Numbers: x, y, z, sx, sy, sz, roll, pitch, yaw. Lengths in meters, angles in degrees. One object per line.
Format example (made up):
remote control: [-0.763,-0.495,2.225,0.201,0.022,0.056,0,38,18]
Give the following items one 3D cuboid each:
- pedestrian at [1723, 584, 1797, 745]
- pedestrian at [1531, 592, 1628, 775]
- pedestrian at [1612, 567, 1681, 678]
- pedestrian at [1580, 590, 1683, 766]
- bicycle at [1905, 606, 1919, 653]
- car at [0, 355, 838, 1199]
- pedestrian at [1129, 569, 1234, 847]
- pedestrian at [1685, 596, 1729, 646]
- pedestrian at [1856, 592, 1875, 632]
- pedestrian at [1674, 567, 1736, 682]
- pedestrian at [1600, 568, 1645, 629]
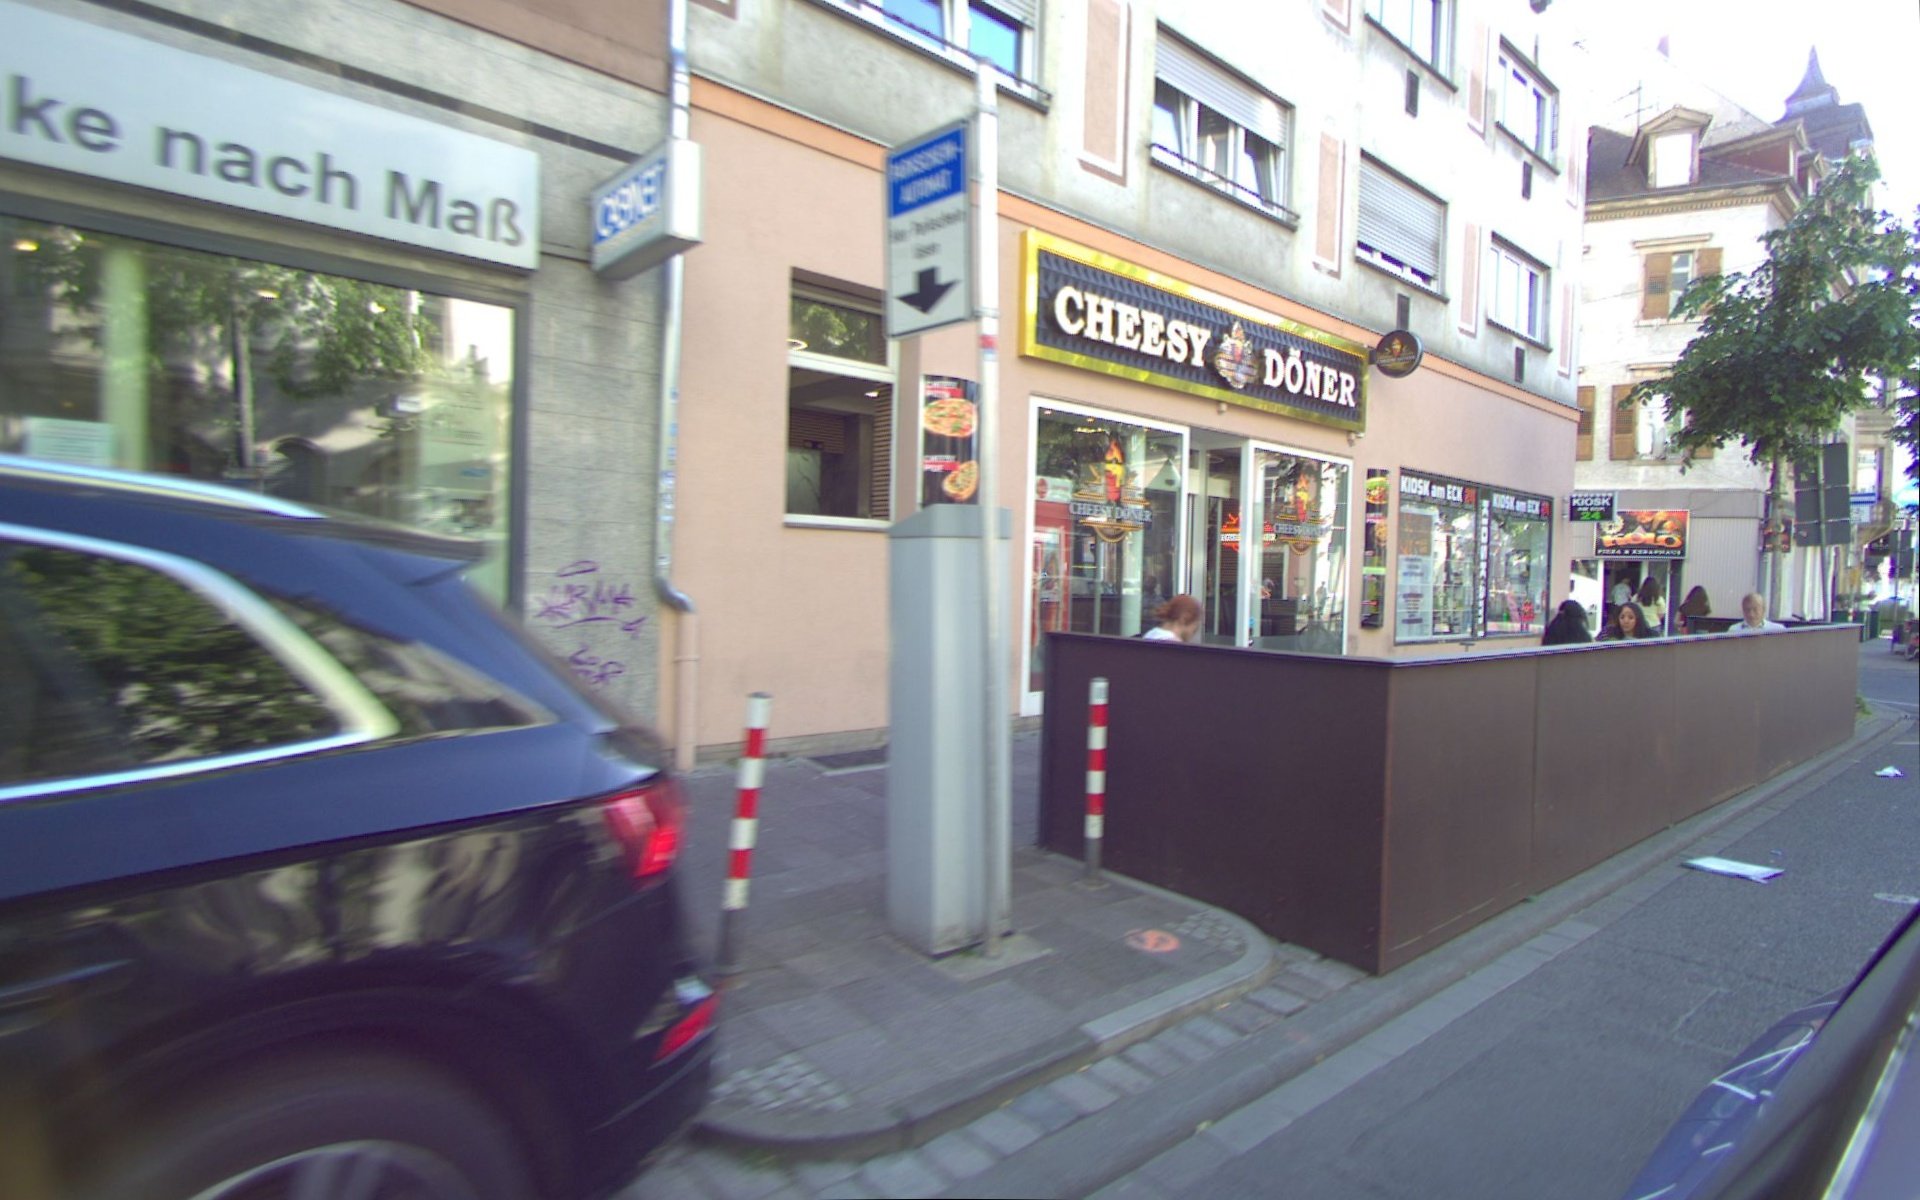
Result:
pedestrian: [7.986,0.621,10.106,0.454,1.548,0.474,0,1,-40]
pedestrian: [4.922,0.629,8.036,0.584,1.379,0.473,0,1,-40]
pedestrian: [10.803,0.343,15.925,0.735,1.665,0.643,1,3,-42]
pedestrian: [5.634,0.620,8.498,0.584,1.396,0.553,0,1,-40]
bicycle: [24.647,0.776,25.694,0.374,1.159,1.660,3,3,24]
car: [-2.588,0.472,1.226,4.438,1.709,1.998,0,5,-42]
pedestrian: [1.125,0.519,5.200,0.475,1.347,0.473,1,1,10]
pedestrian: [19.919,0.555,27.004,0.701,1.274,0.589,2,3,10]
pedestrian: [34.006,0.448,37.995,0.512,1.460,0.460,0,1,-42]
pedestrian: [11.274,0.355,15.315,0.735,1.665,0.514,1,3,-42]
pedestrian: [19.104,-0.052,29.182,0.787,1.716,0.706,2,3,10]
